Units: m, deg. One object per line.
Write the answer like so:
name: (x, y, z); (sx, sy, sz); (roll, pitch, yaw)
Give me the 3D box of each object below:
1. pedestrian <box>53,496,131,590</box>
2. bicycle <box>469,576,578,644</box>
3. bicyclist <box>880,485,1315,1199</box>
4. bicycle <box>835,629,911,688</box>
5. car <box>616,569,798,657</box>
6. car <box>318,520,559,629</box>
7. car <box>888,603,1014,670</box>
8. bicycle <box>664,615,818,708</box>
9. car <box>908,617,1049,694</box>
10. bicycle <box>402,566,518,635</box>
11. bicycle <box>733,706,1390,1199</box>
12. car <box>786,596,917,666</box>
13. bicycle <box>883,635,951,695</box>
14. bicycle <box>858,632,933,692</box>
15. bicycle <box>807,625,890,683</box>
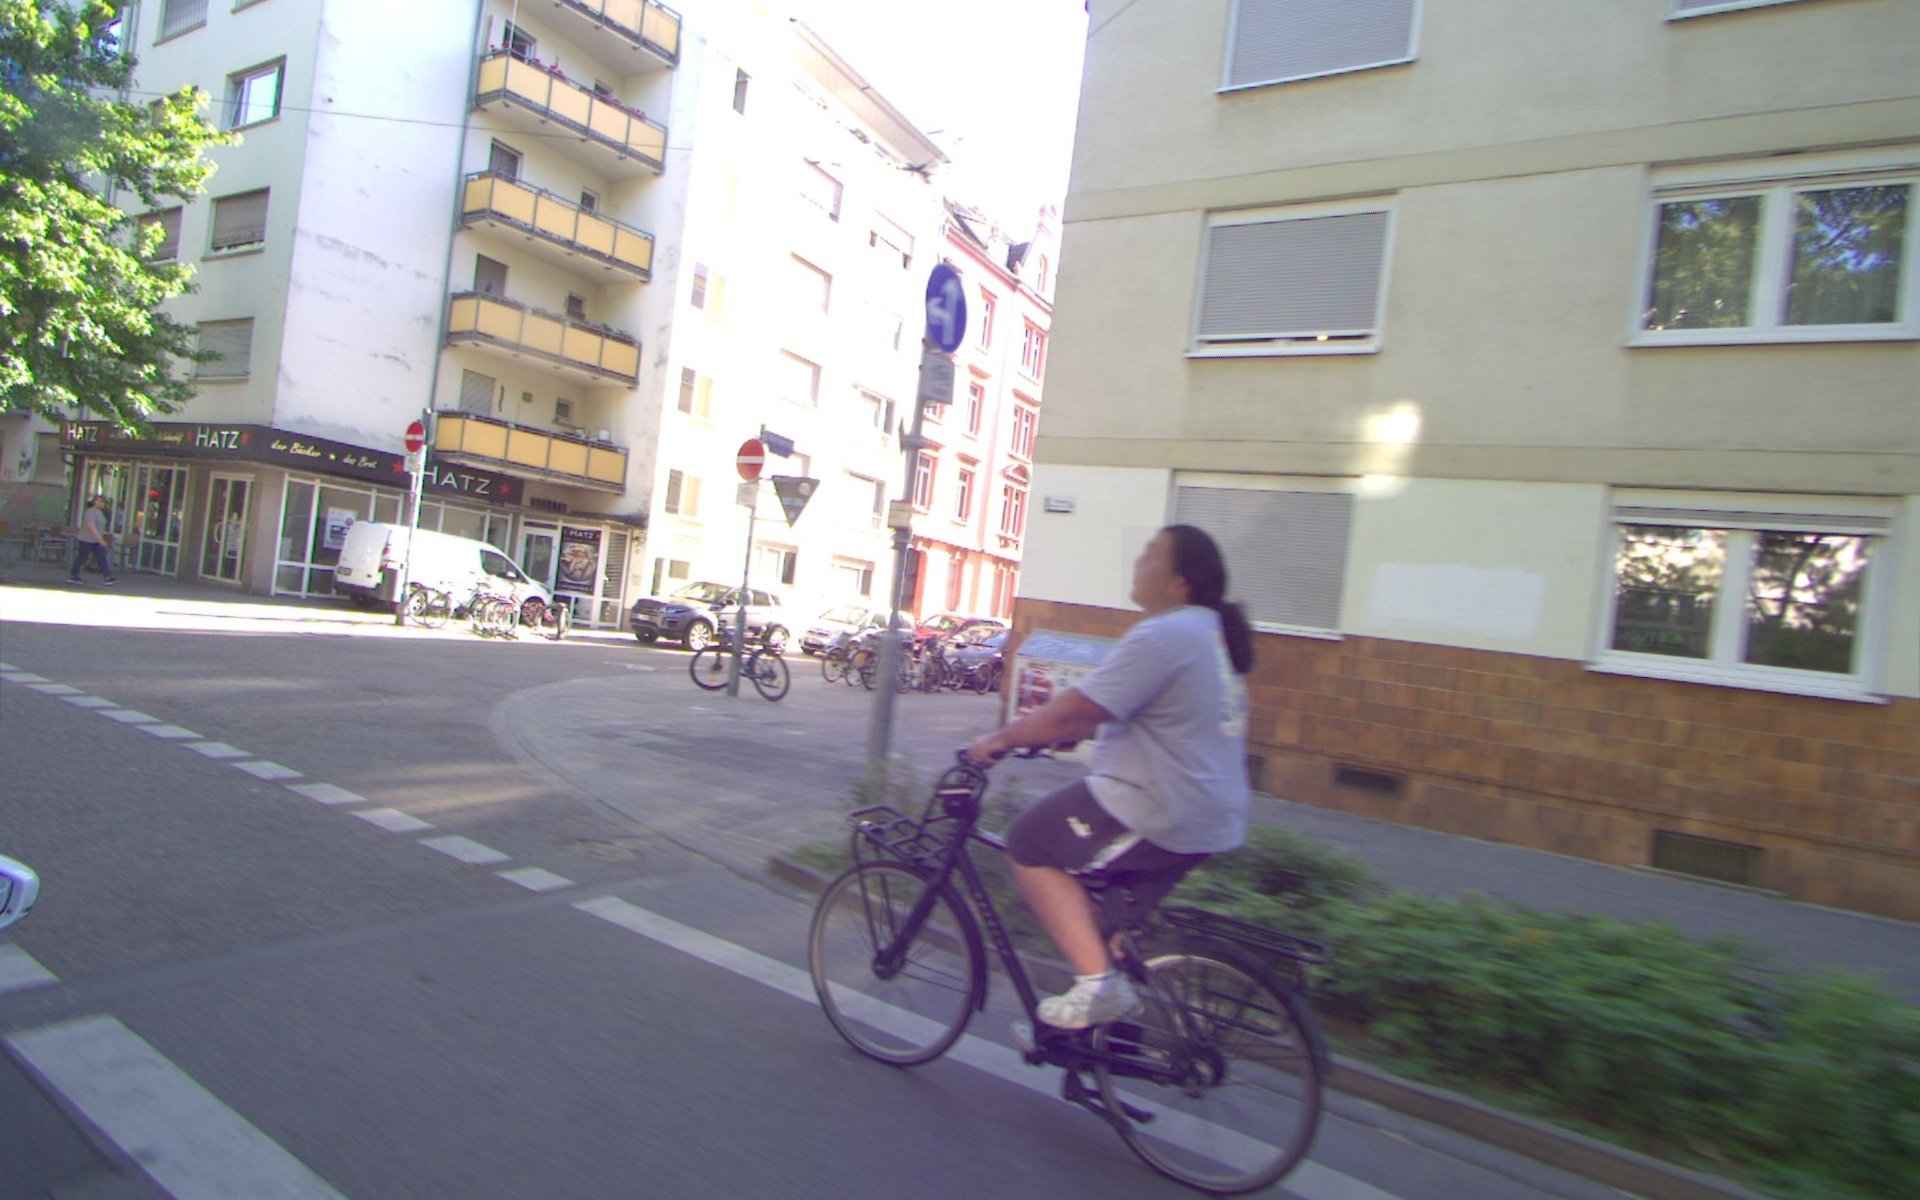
pedestrian: (-16.472, -1.073, 19.116); (0.848, 1.636, 0.764); (7, 0, -31)
bicycle: (-8.536, 0.212, 19.726); (0.605, 1.130, 1.769); (7, 0, 44)
bicyclist: (0.447, 0.621, 3.095); (0.899, 1.780, 0.788); (7, 0, 30)
bicycle: (-1.626, 1.114, 19.174); (0.479, 1.028, 1.968); (7, 0, 23)
car: (-5.905, 0.369, 23.955); (1.773, 1.625, 4.012); (7, -1, 31)
car: (-11.618, -0.498, 22.748); (1.965, 1.853, 4.370); (7, -1, 27)
car: (-0.215, 1.229, 32.813); (1.687, 1.752, 4.433); (7, -1, 35)
bicycle: (-3.082, 0.845, 14.144); (1.933, 1.028, 0.804); (7, 0, 26)
car: (0.493, 1.293, 22.907); (1.703, 1.431, 3.379); (7, -1, 29)
bicycle: (-9.722, 0.025, 19.617); (0.692, 1.130, 1.837); (7, -1, 34)
bicycle: (0.280, 1.052, 3.355); (1.957, 1.104, 0.703); (6, -2, 31)
car: (-2.990, 0.905, 28.454); (1.703, 1.589, 3.651); (7, -1, 31)
bicycle: (-0.767, 1.210, 18.757); (0.360, 1.028, 1.968); (7, 0, 23)
bicycle: (-1.186, 1.160, 18.903); (0.479, 1.028, 1.968); (7, 0, 23)
bicycle: (-2.134, 1.062, 19.494); (0.480, 1.028, 1.966); (7, 0, 28)
